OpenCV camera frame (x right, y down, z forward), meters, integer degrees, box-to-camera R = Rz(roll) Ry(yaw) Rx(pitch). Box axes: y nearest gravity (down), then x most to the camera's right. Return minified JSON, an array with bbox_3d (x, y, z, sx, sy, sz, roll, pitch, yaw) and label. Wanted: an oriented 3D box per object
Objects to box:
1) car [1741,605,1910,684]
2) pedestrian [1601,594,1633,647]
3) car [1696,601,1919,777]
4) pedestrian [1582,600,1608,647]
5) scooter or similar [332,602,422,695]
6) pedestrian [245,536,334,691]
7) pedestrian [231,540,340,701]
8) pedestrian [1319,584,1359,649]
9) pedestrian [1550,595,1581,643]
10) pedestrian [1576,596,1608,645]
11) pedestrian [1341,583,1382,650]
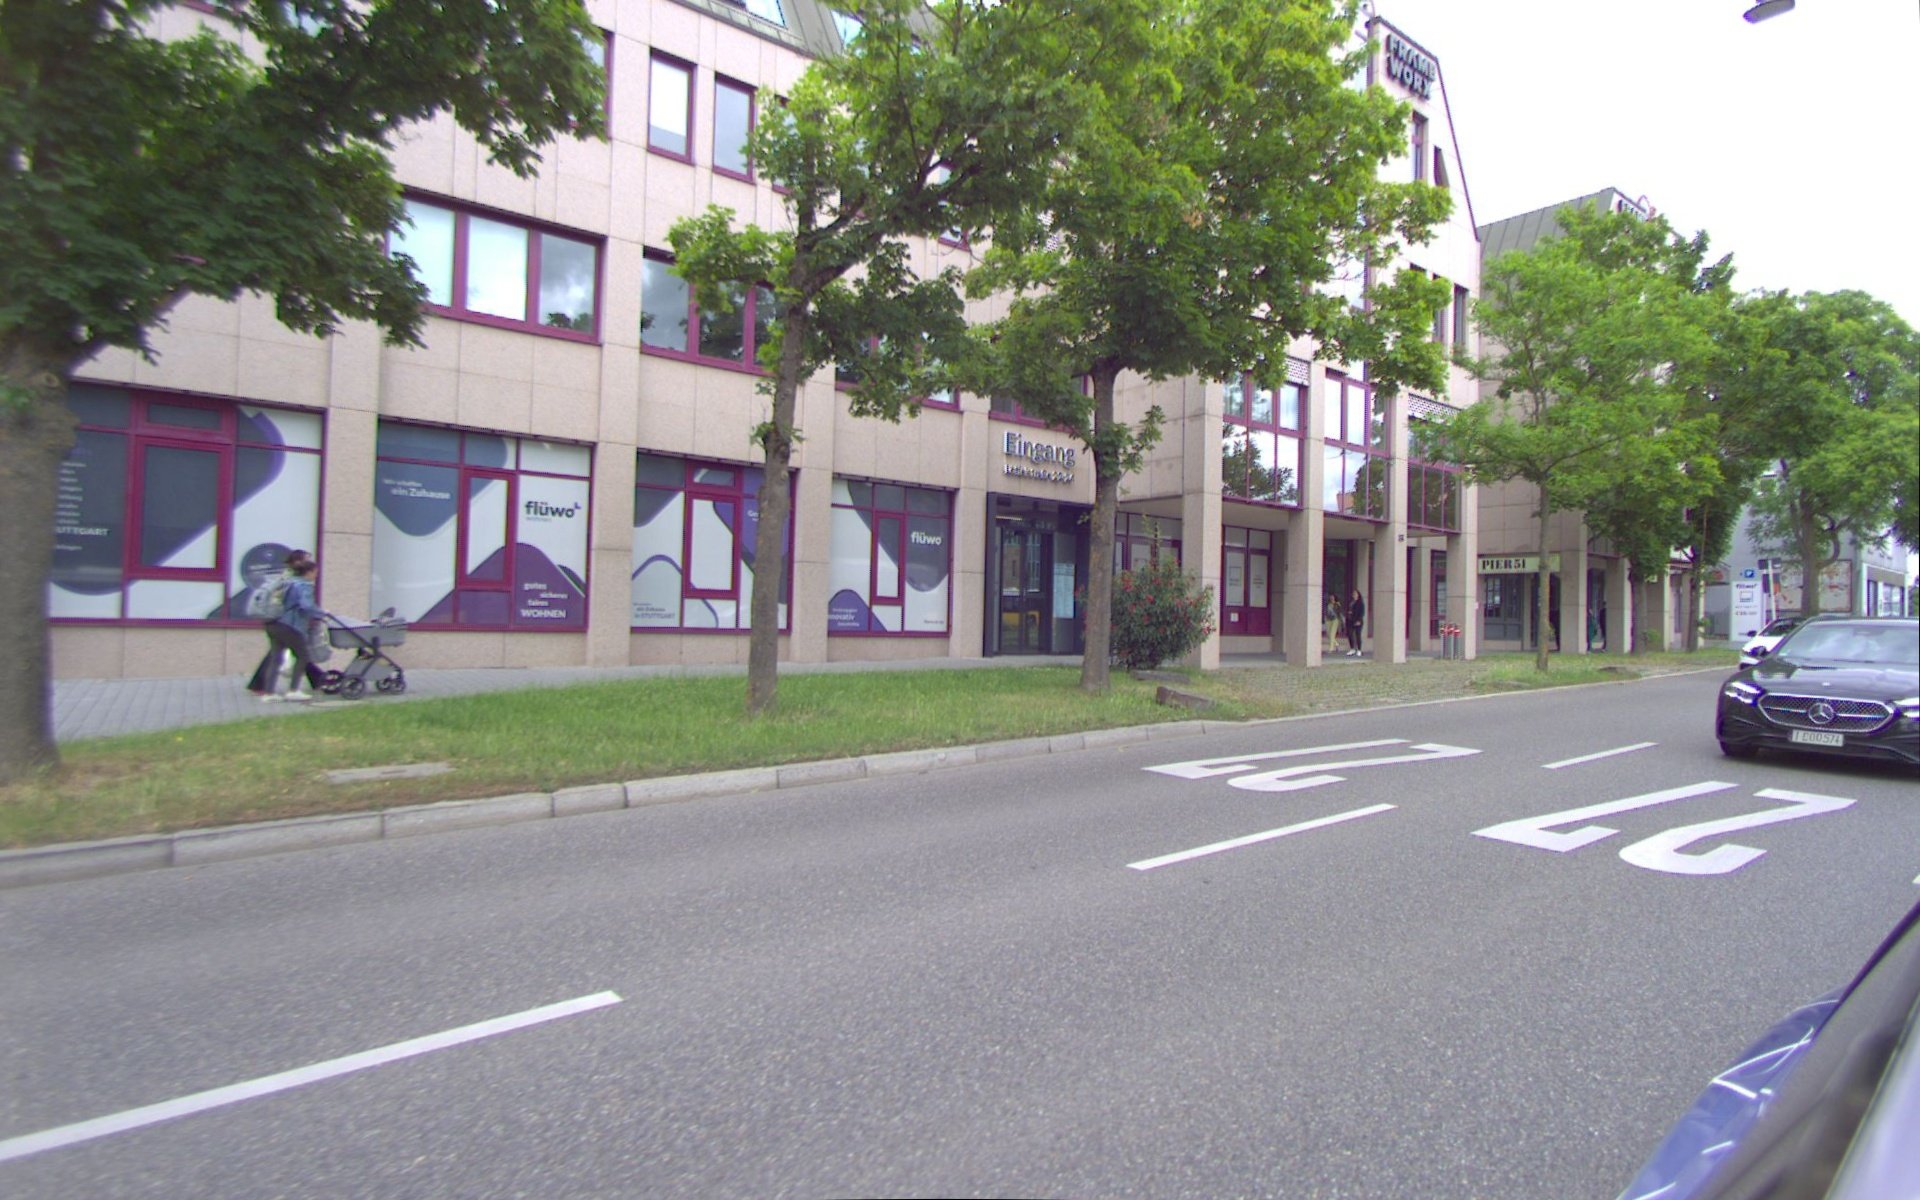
[{"bbox_3d":[18.470,0.858,21.520,4.612,1.491,1.799,0,0,-37],"label":"car"},{"bbox_3d":[23.157,0.711,35.691,0.827,1.849,0.659,1,1,-37],"label":"pedestrian"},{"bbox_3d":[9.863,0.796,10.744,4.882,1.505,2.058,1,0,-38],"label":"car"},{"bbox_3d":[21.762,0.797,34.704,0.534,1.569,0.563,1,1,-37],"label":"pedestrian"},{"bbox_3d":[-6.728,0.542,11.678,0.830,1.006,0.585,1,1,-36],"label":"scooter or similar"},{"bbox_3d":[-7.744,0.146,11.686,0.814,1.721,0.569,1,0,-37],"label":"pedestrian"},{"bbox_3d":[-7.351,0.210,11.034,0.943,1.673,0.557,1,1,-36],"label":"pedestrian"},{"bbox_3d":[10.254,0.445,27.379,0.951,1.726,0.596,1,-1,-37],"label":"pedestrian"},{"bbox_3d":[22.174,0.703,37.048,0.827,1.712,0.659,1,1,-37],"label":"pedestrian"},{"bbox_3d":[22.725,0.728,36.394,0.827,1.712,0.659,1,1,-37],"label":"pedestrian"},{"bbox_3d":[10.603,0.430,26.734,0.951,1.726,0.596,1,-1,-37],"label":"pedestrian"}]
